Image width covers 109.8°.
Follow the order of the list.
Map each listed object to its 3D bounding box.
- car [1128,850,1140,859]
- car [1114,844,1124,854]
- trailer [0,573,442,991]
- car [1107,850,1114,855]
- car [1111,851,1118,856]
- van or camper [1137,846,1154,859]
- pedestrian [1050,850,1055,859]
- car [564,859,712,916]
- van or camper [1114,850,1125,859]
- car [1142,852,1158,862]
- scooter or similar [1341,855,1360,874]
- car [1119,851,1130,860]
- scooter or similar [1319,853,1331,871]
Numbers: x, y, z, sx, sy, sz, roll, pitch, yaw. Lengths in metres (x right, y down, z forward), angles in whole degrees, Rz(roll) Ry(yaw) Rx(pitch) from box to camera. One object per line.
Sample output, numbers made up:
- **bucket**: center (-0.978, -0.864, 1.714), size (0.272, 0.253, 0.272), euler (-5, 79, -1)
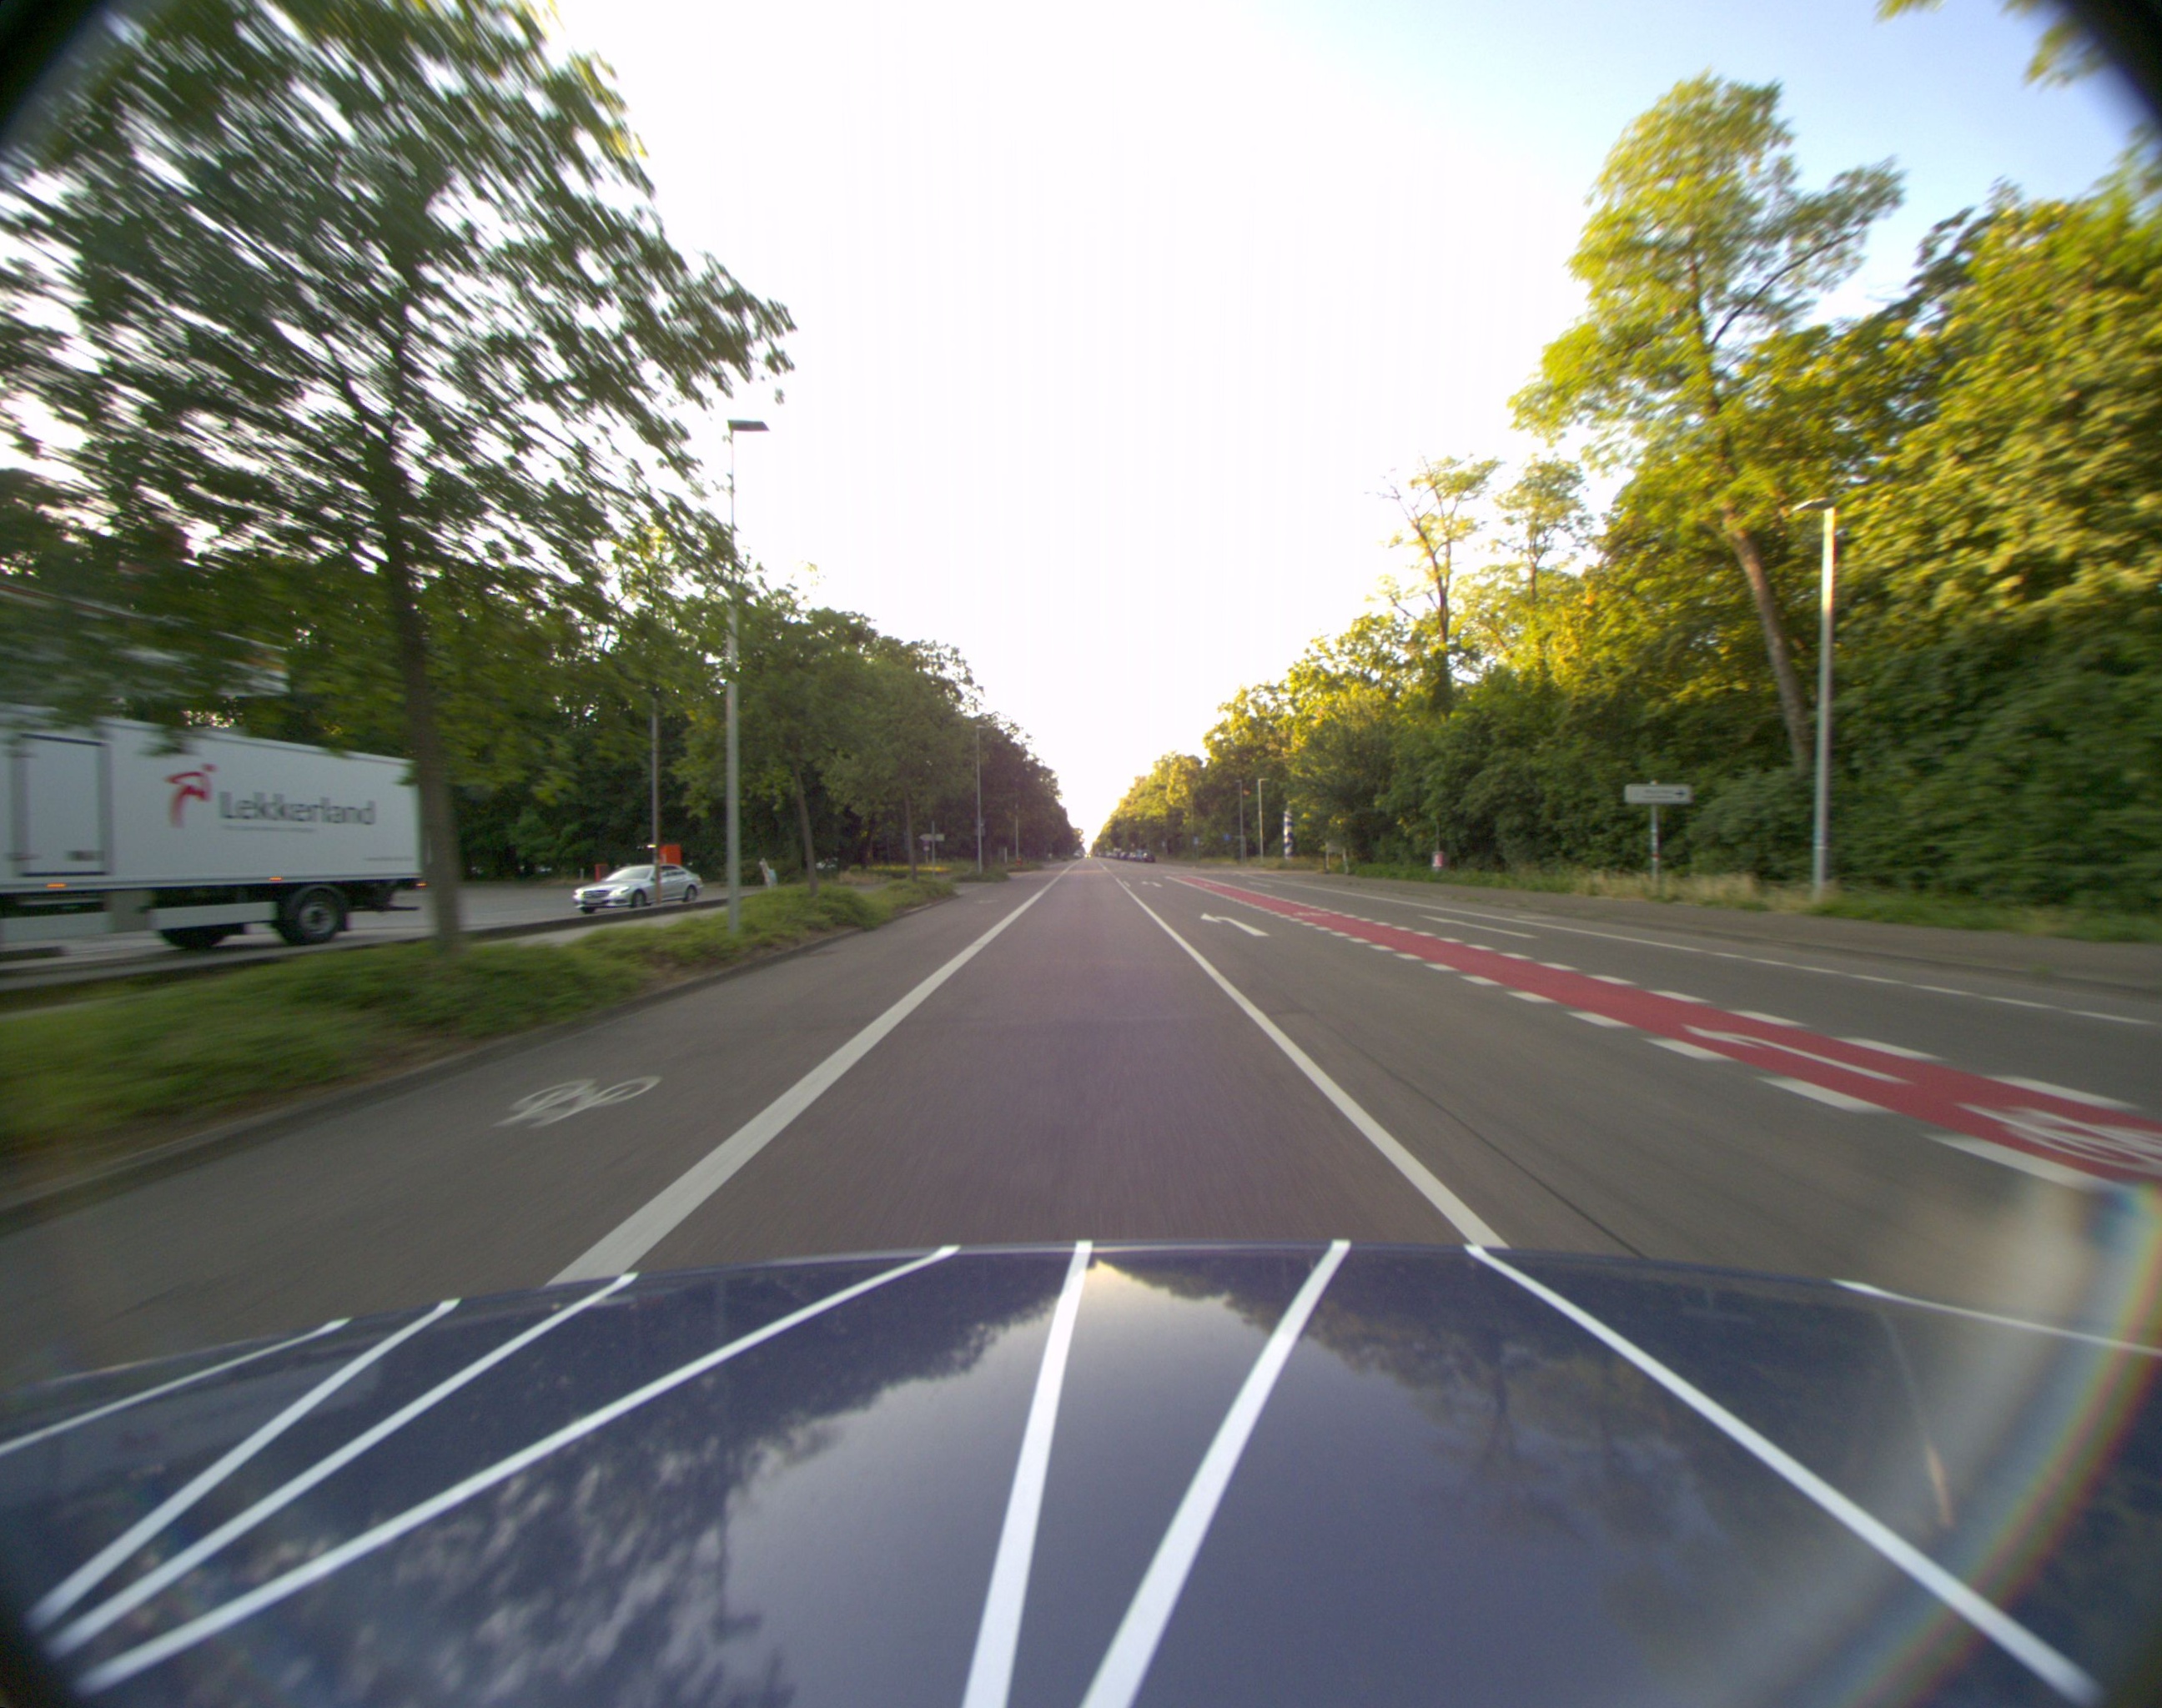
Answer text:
- **car**: center (9.519, 0.103, 137.214), size (1.621, 1.525, 4.038), euler (1, 0, -5)
- **car**: center (9.480, -1.210, 190.205), size (2.084, 2.591, 7.088), euler (2, 0, 0)
- **trailer**: center (-15.647, -0.920, 12.833), size (3.028, 5.430, 7.932), euler (-1, 0, -2)
- **car**: center (9.588, -0.565, 247.375), size (1.699, 1.636, 4.572), euler (1, 0, -1)
- **car**: center (9.428, -0.204, 213.790), size (1.850, 1.454, 4.229), euler (1, 0, -2)
- **van or camper**: center (10.692, -0.310, 126.611), size (2.037, 2.082, 5.012), euler (1, 0, -3)
- **pedestrian**: center (-5.475, 0.037, 144.700), size (0.840, 1.741, 0.726), euler (-1, 1, 1)
- **car**: center (-14.594, 1.031, 25.416), size (1.773, 1.574, 4.820), euler (-2, 0, 4)
- **van or camper**: center (8.387, 0.069, 166.361), size (2.008, 2.006, 5.460), euler (1, 0, -1)
- **car**: center (10.933, 0.471, 120.735), size (1.692, 1.453, 4.241), euler (1, 0, -5)
- **scooter or similar**: center (15.375, 0.598, 43.344), size (0.901, 1.062, 0.495), euler (-1, 1, -24)
- **car**: center (8.593, 0.255, 151.249), size (1.749, 1.702, 4.522), euler (1, 0, -1)
- **scooter or similar**: center (15.054, 0.482, 46.907), size (0.360, 1.103, 0.881), euler (0, 1, 43)
